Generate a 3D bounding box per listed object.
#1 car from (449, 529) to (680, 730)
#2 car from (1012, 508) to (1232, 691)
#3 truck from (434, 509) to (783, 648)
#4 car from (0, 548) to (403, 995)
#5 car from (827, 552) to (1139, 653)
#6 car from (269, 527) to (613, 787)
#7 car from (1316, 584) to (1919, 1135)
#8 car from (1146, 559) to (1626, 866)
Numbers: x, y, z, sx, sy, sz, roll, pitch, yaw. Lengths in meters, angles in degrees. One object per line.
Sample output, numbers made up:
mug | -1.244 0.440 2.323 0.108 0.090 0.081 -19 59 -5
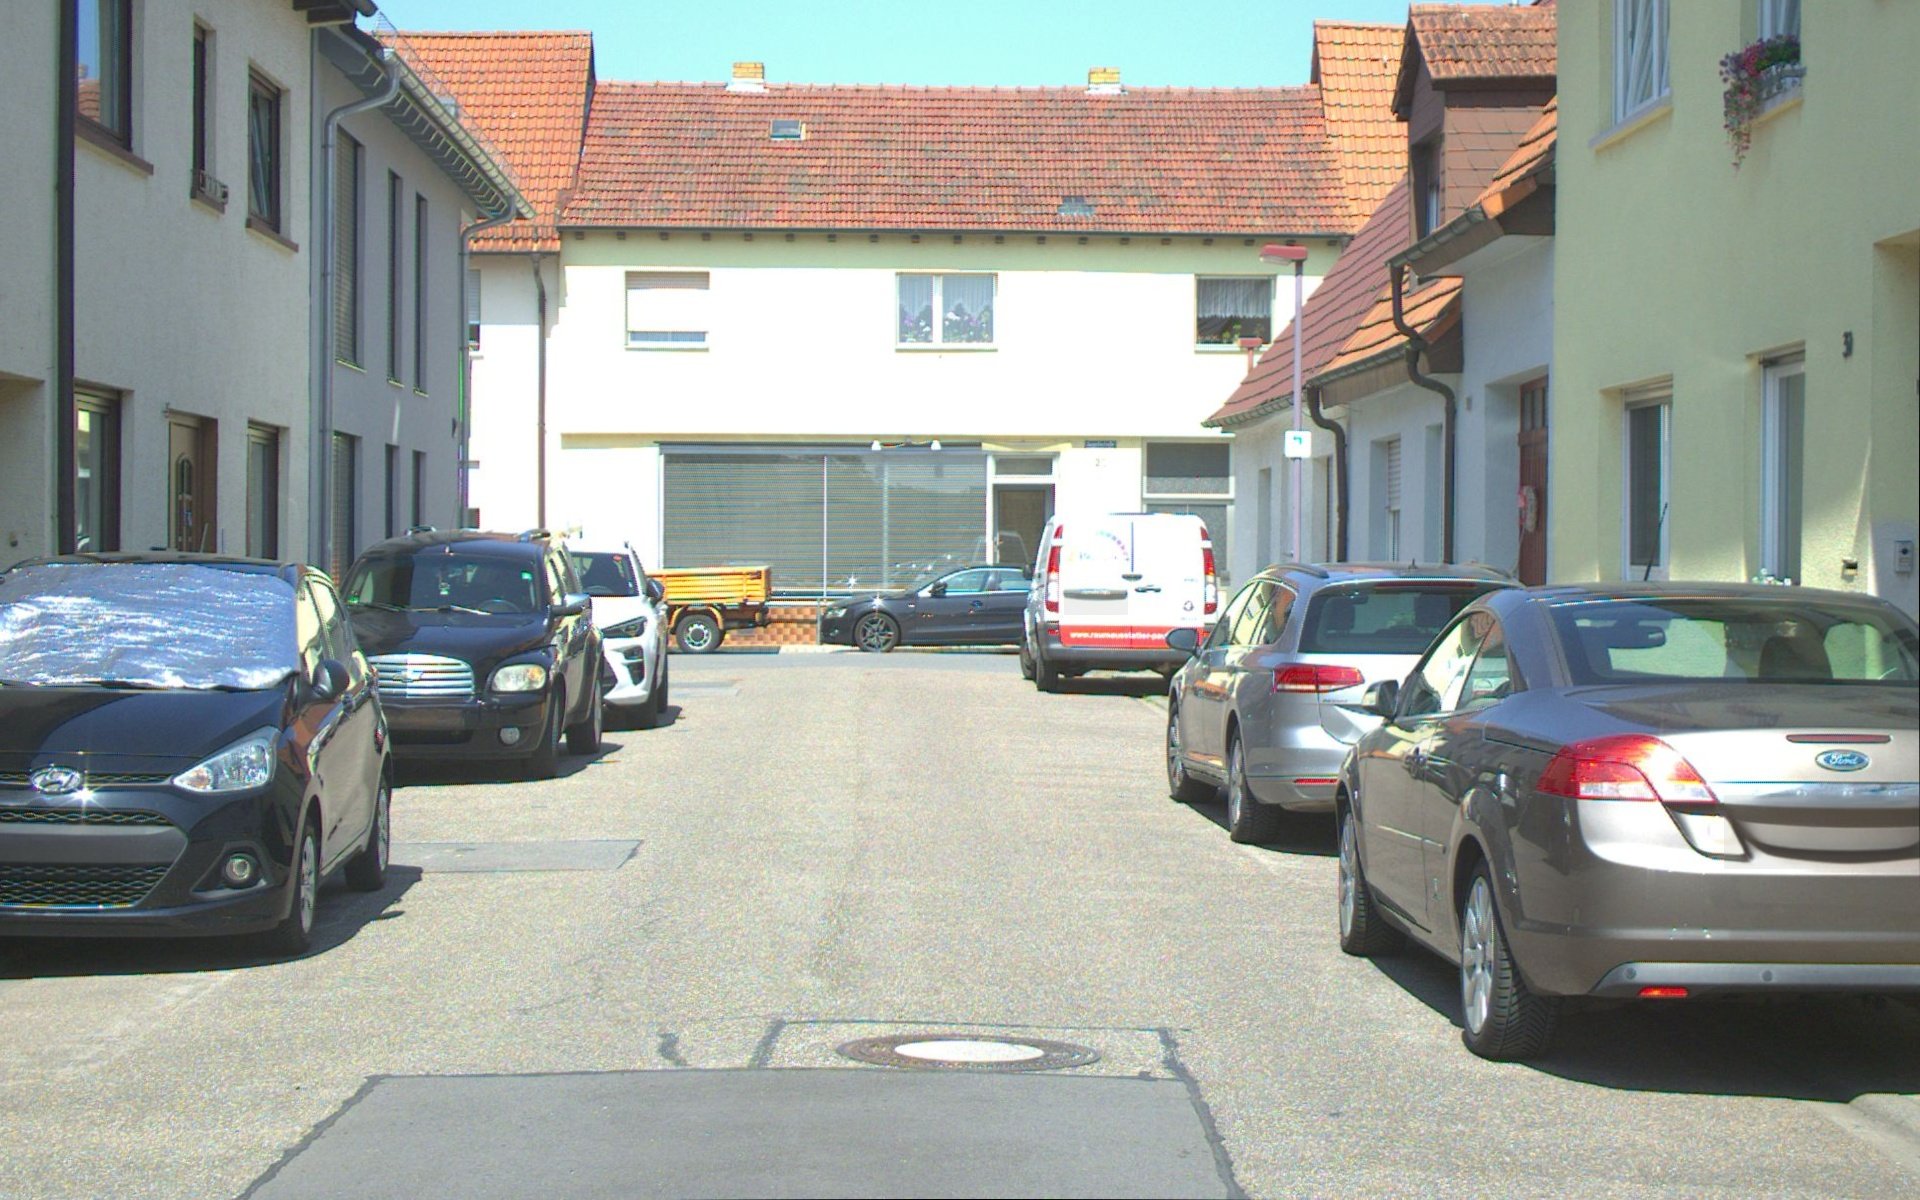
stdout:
car | -3.386 0.215 30.071 1.774 1.610 4.349 -1 1 -4
car | 1.697 -0.038 37.820 2.012 1.832 5.266 1 1 -1
truck | -5.269 -0.323 52.078 5.063 2.007 2.190 1 0 -1
car | -3.302 0.571 13.816 1.640 1.532 3.943 -1 1 -3
car | 0.312 0.050 52.105 4.616 1.390 1.928 1 -2 -2
car | -3.447 0.334 23.506 1.722 1.610 3.989 -1 1 0
car | 2.336 0.697 11.312 1.696 1.430 4.103 1 1 -3
car | 2.199 0.520 19.072 1.838 1.443 4.777 1 1 -3
